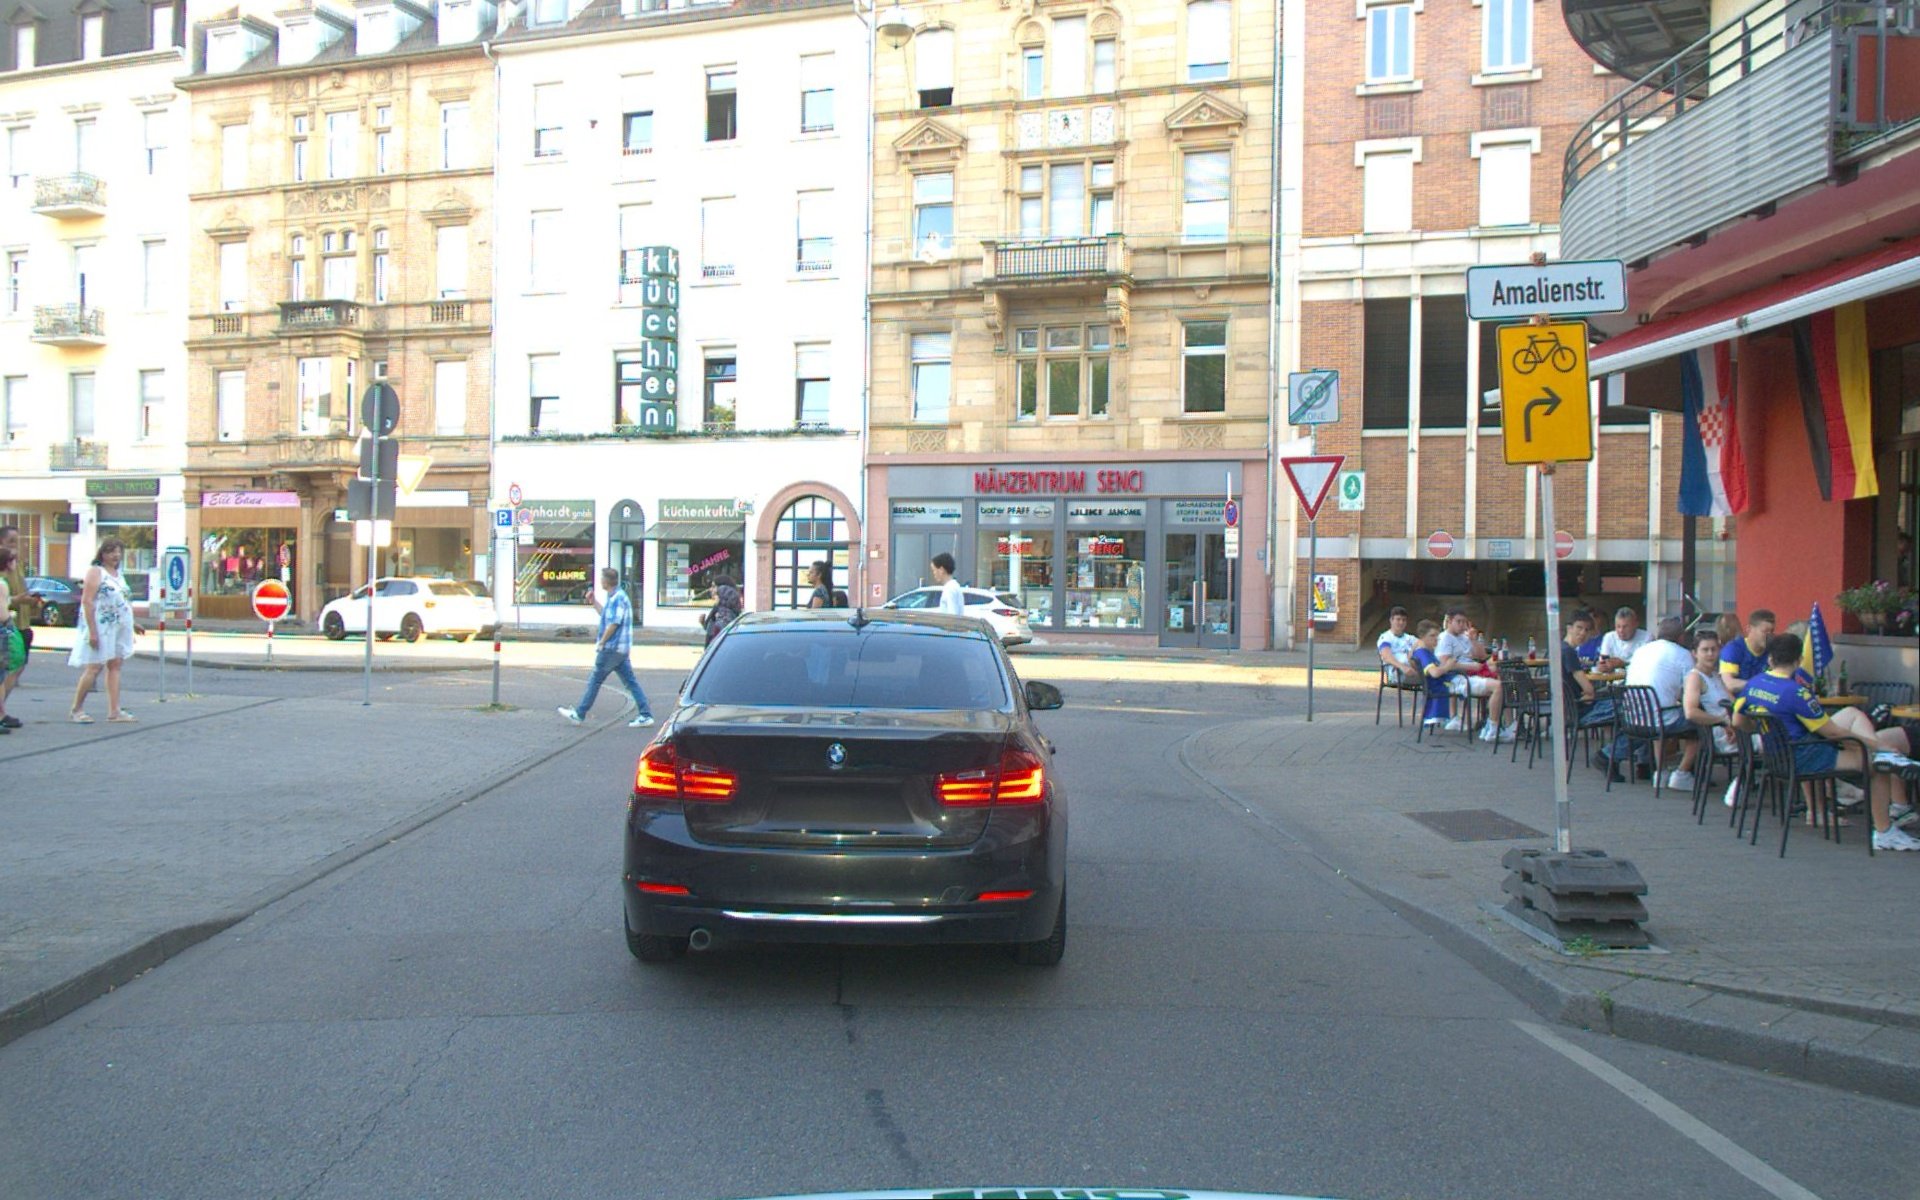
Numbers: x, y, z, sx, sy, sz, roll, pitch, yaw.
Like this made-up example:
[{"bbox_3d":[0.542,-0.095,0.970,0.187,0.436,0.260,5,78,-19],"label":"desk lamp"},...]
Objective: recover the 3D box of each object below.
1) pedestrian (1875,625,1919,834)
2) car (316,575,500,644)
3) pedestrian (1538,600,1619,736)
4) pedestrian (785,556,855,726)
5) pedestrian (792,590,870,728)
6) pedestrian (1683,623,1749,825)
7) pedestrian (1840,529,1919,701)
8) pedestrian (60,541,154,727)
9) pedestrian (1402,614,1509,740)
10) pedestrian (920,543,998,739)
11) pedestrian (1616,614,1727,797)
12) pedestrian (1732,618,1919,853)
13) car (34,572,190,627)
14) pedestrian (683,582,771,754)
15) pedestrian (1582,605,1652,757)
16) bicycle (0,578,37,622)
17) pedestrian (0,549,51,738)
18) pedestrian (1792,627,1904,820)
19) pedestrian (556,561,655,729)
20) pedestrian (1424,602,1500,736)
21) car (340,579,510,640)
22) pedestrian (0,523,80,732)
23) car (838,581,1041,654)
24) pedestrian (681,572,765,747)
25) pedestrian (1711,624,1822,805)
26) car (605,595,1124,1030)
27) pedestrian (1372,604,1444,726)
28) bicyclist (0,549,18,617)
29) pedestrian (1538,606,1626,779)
[{"bbox_3d":[6.176,0.780,10.078,0.763,1.244,0.714,-2,0,-3],"label":"pedestrian"},{"bbox_3d":[-12.694,0.178,37.982,3.912,1.498,1.881,1,1,29],"label":"car"},{"bbox_3d":[6.147,0.660,16.432,0.606,1.301,0.699,1,0,35],"label":"pedestrian"},{"bbox_3d":[-1.489,0.424,17.616,0.653,1.776,0.607,0,0,3],"label":"pedestrian"},{"bbox_3d":[-1.424,0.638,18.310,0.798,1.500,0.607,0,0,1],"label":"pedestrian"},{"bbox_3d":[4.927,0.800,10.792,0.336,1.279,0.360,-2,0,22],"label":"pedestrian"},{"bbox_3d":[9.189,0.148,16.208,0.705,1.635,0.681,2,0,-29],"label":"pedestrian"},{"bbox_3d":[-8.380,0.317,16.248,0.663,1.776,0.653,1,0,44],"label":"pedestrian"},{"bbox_3d":[4.772,0.727,15.957,0.871,1.170,0.619,0,0,4],"label":"pedestrian"},{"bbox_3d":[-0.002,0.398,16.621,0.684,1.910,0.678,1,0,4],"label":"pedestrian"},{"bbox_3d":[5.323,0.772,12.369,0.622,1.298,0.504,-2,0,-40],"label":"pedestrian"},{"bbox_3d":[5.021,0.764,9.568,0.841,1.279,0.491,-2,0,-3],"label":"pedestrian"},{"bbox_3d":[-24.317,-0.017,47.439,3.904,1.537,1.800,0,0,20],"label":"car"},{"bbox_3d":[-2.169,0.616,15.343,0.722,1.540,0.648,2,0,-12],"label":"pedestrian"},{"bbox_3d":[5.798,0.701,14.613,0.479,1.299,0.522,0,0,10],"label":"pedestrian"},{"bbox_3d":[-25.193,-0.008,43.397,1.756,1.127,0.538,2,0,12],"label":"bicycle"},{"bbox_3d":[-8.568,0.382,14.885,0.490,1.672,0.520,0,0,-1],"label":"pedestrian"},{"bbox_3d":[5.870,0.800,10.940,0.528,1.222,0.415,-2,0,45],"label":"pedestrian"},{"bbox_3d":[-3.828,0.471,17.903,0.876,1.755,0.608,2,2,4],"label":"pedestrian"},{"bbox_3d":[5.046,0.680,16.655,0.604,1.306,0.660,0,0,5],"label":"pedestrian"},{"bbox_3d":[-13.907,0.238,43.012,3.904,1.537,1.800,0,0,20],"label":"car"},{"bbox_3d":[-8.715,0.244,15.506,0.571,1.915,0.634,0,0,3],"label":"pedestrian"},{"bbox_3d":[-0.450,0.386,37.806,4.261,1.589,1.869,0,0,20],"label":"car"},{"bbox_3d":[-2.300,0.563,16.021,0.711,1.637,0.648,2,0,-12],"label":"pedestrian"},{"bbox_3d":[5.683,0.791,11.658,0.415,1.222,0.560,-2,0,-44],"label":"pedestrian"},{"bbox_3d":[-0.410,0.723,8.035,1.729,1.399,4.788,2,1,-2],"label":"car"},{"bbox_3d":[4.831,0.687,17.860,0.604,1.276,0.736,0,0,3],"label":"pedestrian"},{"bbox_3d":[-25.191,-0.448,43.400,0.604,1.787,0.526,1,0,12],"label":"bicyclist"},{"bbox_3d":[4.921,0.722,13.098,0.481,1.326,0.418,-2,0,-3],"label":"pedestrian"}]
